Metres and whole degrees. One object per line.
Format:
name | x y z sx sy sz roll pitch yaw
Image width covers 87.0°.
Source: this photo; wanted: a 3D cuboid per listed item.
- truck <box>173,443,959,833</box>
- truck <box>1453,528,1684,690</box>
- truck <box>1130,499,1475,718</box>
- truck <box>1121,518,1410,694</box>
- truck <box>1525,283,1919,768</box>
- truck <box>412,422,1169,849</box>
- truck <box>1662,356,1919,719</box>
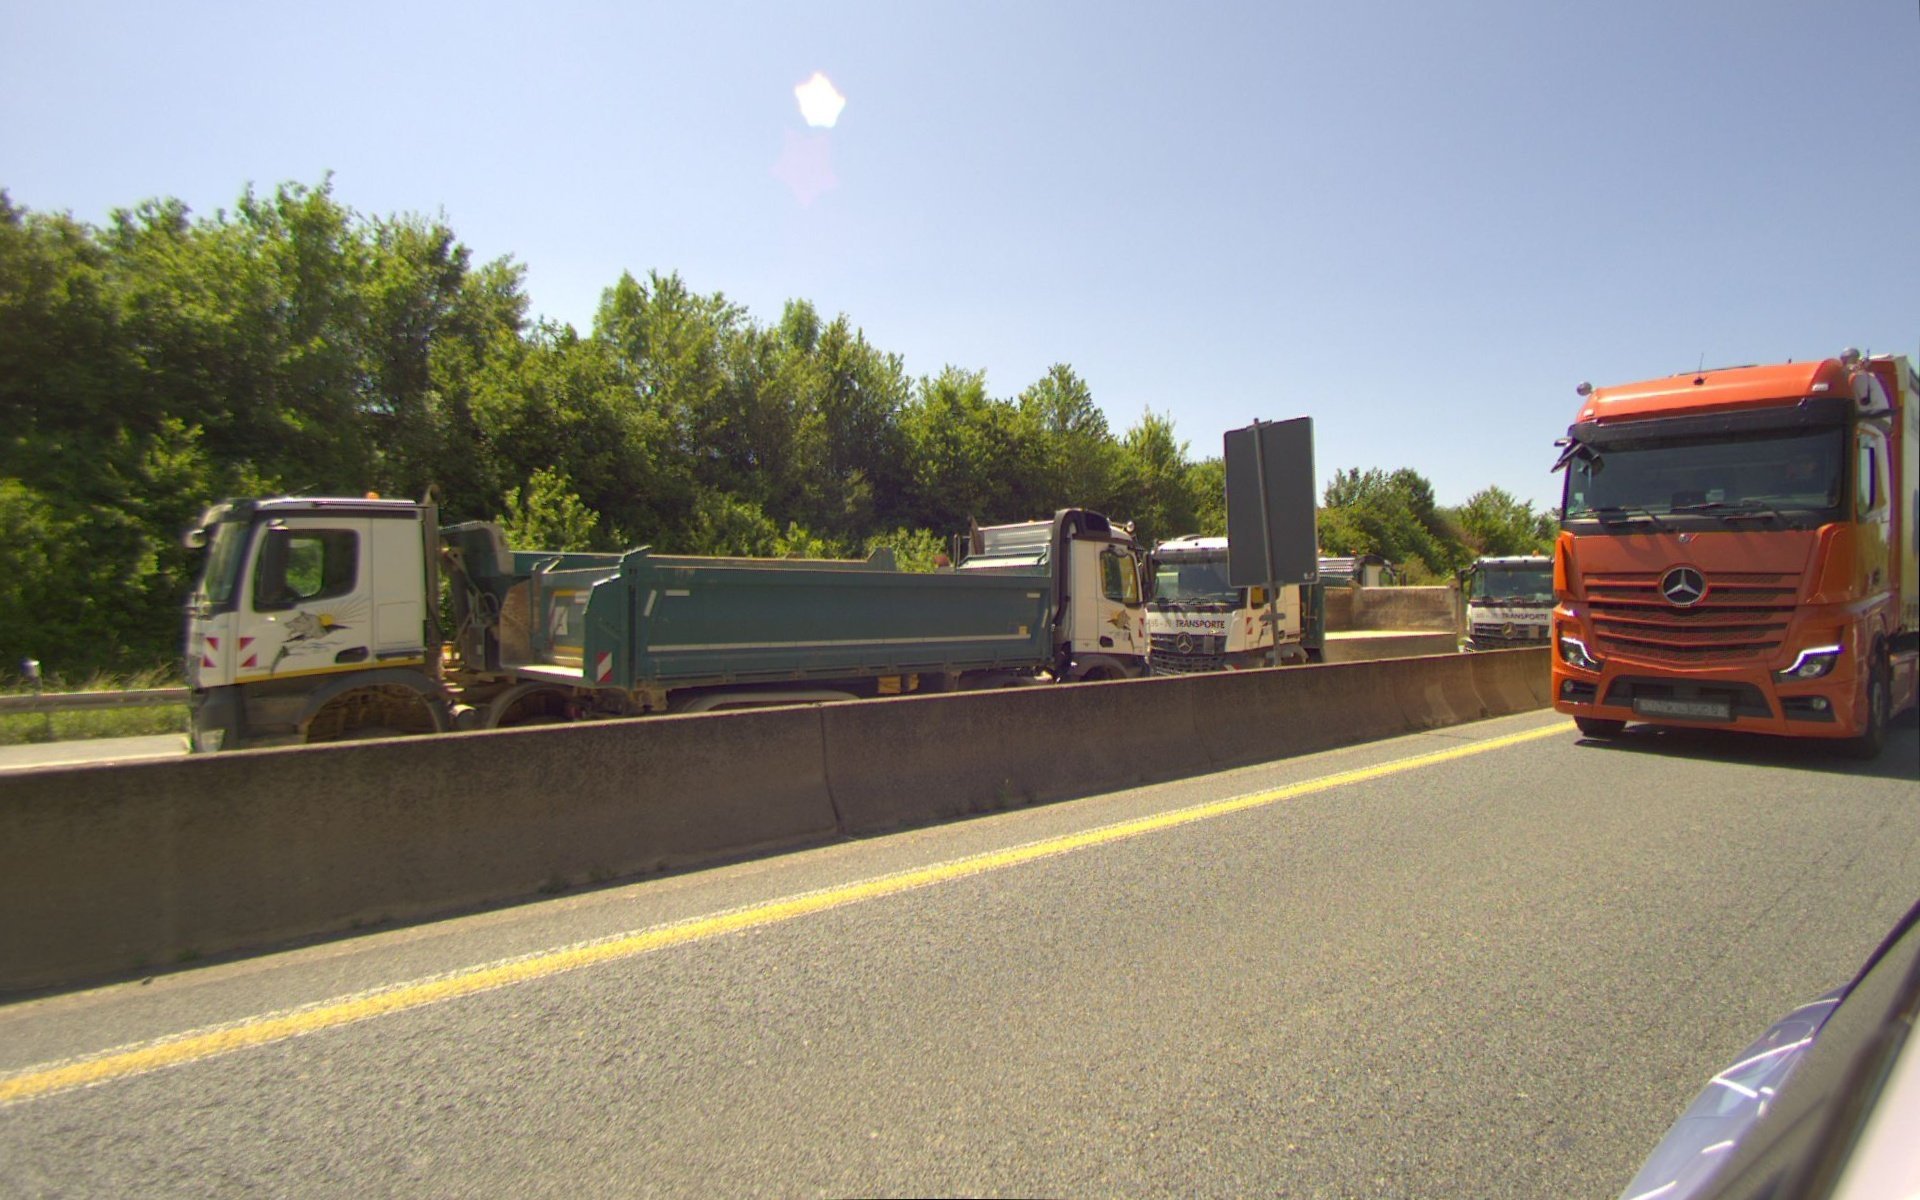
truck | -4.438 0.334 13.487 9.435 3.602 2.691 0 0 -41
truck | 15.991 0.179 26.214 8.939 3.556 2.537 0 0 -41
truck | 7.204 0.122 20.316 8.789 3.556 2.537 0 0 -41
truck | 7.543 0.102 24.199 8.235 3.556 2.691 0 0 -41
truck | 9.289 -0.659 11.625 6.606 4.061 2.687 -1 0 -40
truck | -1.311 0.279 12.635 9.436 3.602 2.542 0 0 -41
truck | 14.985 -0.773 16.380 12.986 4.061 2.687 -1 0 -40
